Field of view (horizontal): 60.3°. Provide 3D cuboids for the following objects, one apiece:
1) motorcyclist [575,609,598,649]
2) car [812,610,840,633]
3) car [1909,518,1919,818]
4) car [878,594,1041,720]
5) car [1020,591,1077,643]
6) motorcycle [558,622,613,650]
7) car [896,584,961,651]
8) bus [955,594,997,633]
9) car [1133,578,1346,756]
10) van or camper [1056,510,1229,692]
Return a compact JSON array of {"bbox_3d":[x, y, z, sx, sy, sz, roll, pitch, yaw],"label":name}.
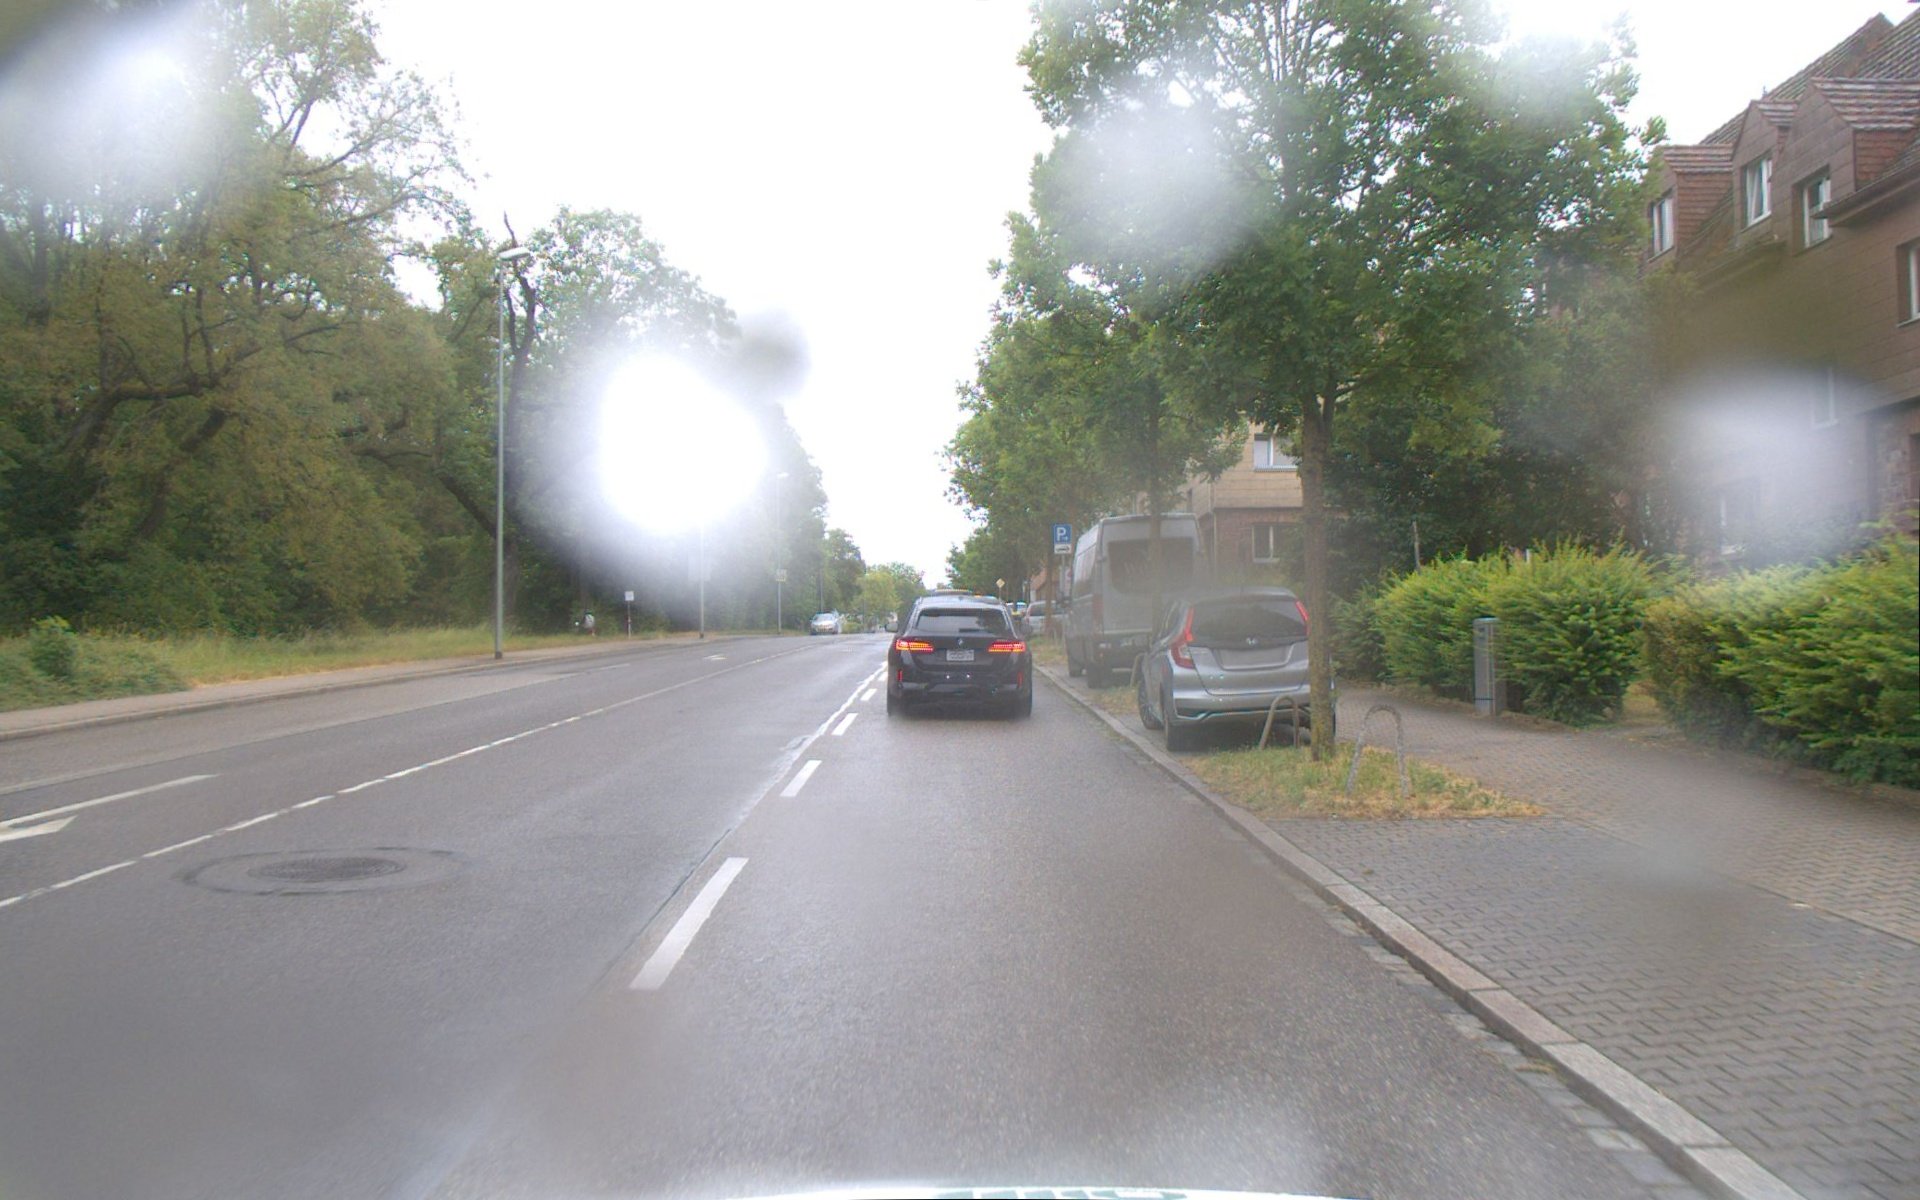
[{"bbox_3d":[-16.009,1.231,70.965,0.635,1.710,0.814,1,0,13],"label":"motorcyclist"},{"bbox_3d":[-9.134,1.457,113.140,1.656,1.509,4.449,-2,-1,-2],"label":"car"},{"bbox_3d":[3.352,0.576,2.139,1.786,1.630,4.475,-2,0,2],"label":"car"},{"bbox_3d":[-0.044,0.720,22.325,1.953,1.478,3.999,2,-1,-1],"label":"car"},{"bbox_3d":[2.998,0.552,56.911,1.667,1.611,4.643,-4,0,1],"label":"car"},{"bbox_3d":[-16.051,1.544,70.976,2.135,1.137,0.825,1,0,13],"label":"motorcycle"},{"bbox_3d":[-0.964,0.556,52.570,1.953,2.049,4.000,0,-1,0],"label":"car"},{"bbox_3d":[1.322,1.069,130.792,2.567,2.897,8.293,-2,-1,5],"label":"bus"},{"bbox_3d":[2.798,0.628,17.305,1.634,1.555,3.833,-3,0,2],"label":"car"},{"bbox_3d":[2.997,0.004,28.918,2.153,2.697,7.301,-2,0,0],"label":"van or camper"}]
